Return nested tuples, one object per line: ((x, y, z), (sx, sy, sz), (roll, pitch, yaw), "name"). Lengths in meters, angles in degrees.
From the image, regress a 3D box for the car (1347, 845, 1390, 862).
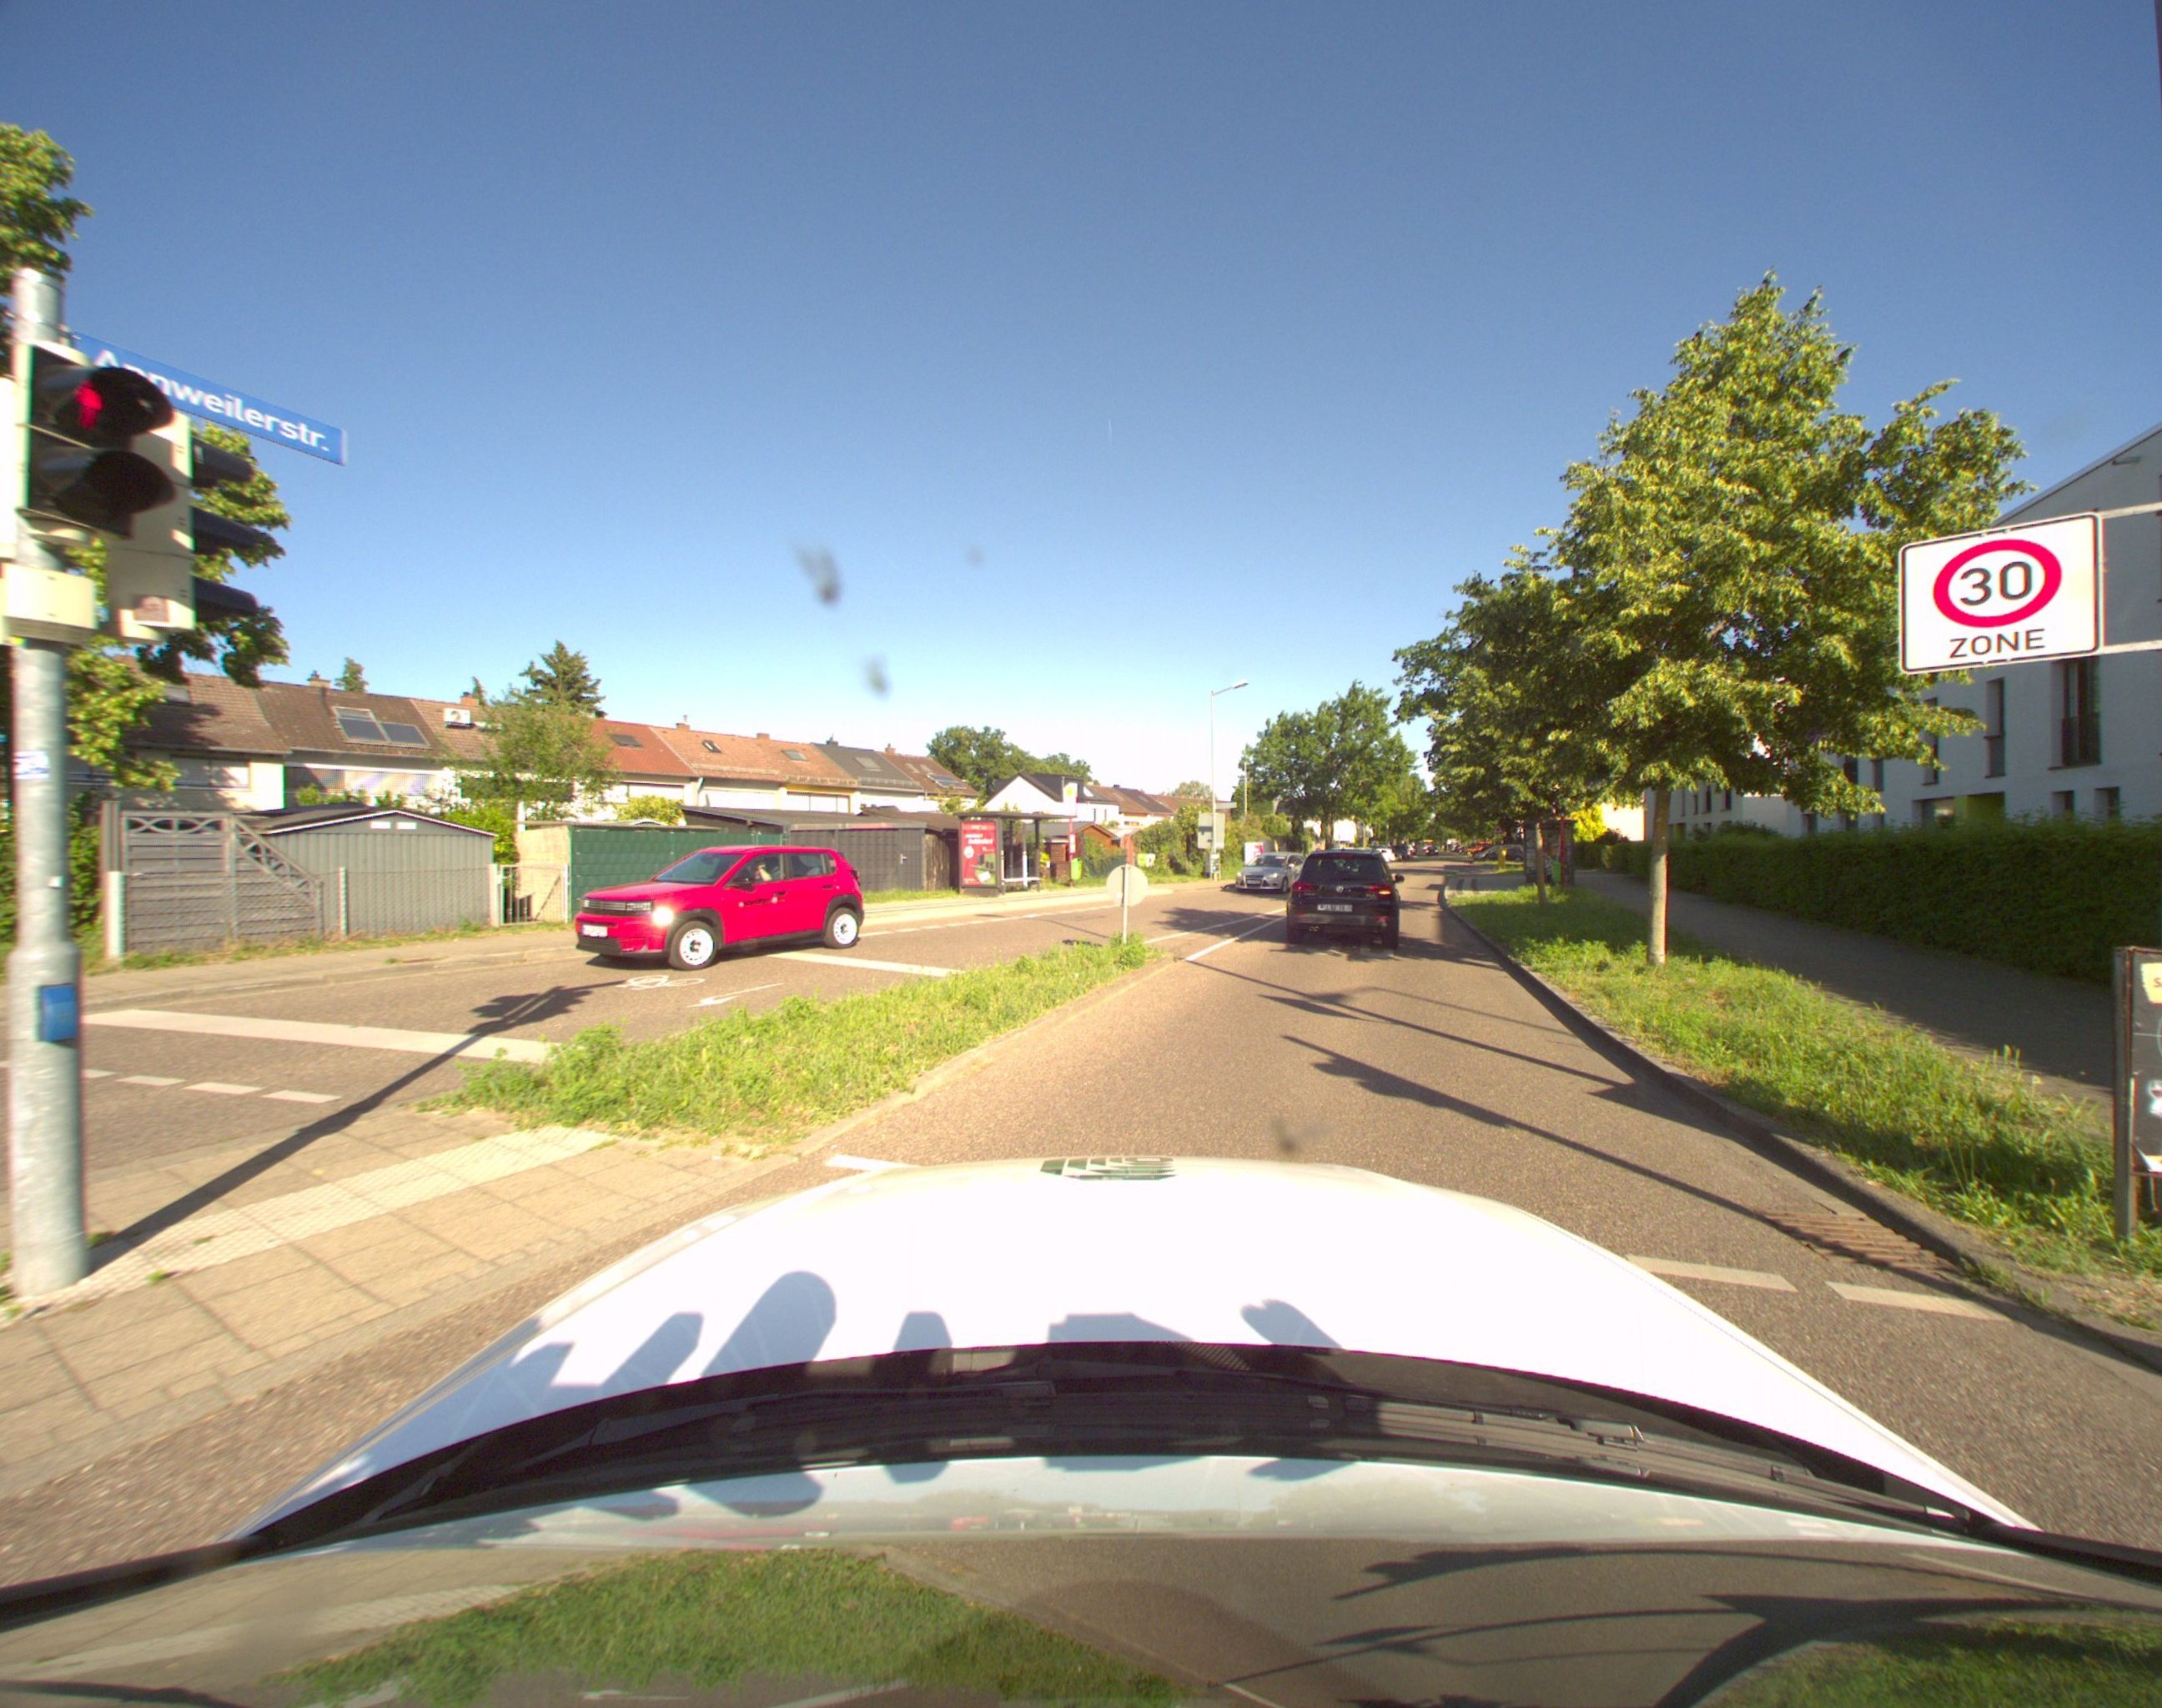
((29.564, -0.072, 83.680), (3.950, 1.670, 2.012), (-1, 0, 26), "car")

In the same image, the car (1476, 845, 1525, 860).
((39.498, -0.114, 76.775), (3.950, 1.368, 1.857), (-1, 0, 25), "car")

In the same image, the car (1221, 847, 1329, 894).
((7.280, 0.556, 30.232), (2.188, 1.591, 4.563), (0, 0, 38), "car")

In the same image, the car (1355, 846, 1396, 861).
((32.003, -0.070, 88.468), (3.950, 1.640, 2.012), (0, 0, 27), "car")

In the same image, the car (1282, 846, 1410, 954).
((4.986, 0.693, 15.091), (1.913, 1.654, 4.537), (1, 1, 20), "car")

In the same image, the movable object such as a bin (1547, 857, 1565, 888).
((15.629, 0.599, 26.821), (0.366, 1.016, 0.602), (-1, 0, 16), "movable object such as a bin")

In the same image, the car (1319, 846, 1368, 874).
((14.571, 0.276, 45.033), (1.975, 1.443, 4.477), (1, 1, 26), "car")

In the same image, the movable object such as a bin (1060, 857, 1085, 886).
((-0.294, 0.594, 28.101), (0.587, 0.967, 0.562), (4, 2, 30), "movable object such as a bin")

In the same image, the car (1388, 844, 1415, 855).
((51.837, -0.666, 131.728), (3.955, 1.684, 1.932), (-1, 0, 17), "car")

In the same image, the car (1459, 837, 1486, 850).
((64.277, -1.655, 133.652), (3.950, 2.014, 2.011), (-1, -2, 26), "car")

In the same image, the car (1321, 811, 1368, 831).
((21.892, -2.750, 67.690), (3.516, 1.477, 1.819), (-1, 0, 25), "car")

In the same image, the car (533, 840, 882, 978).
((-5.059, 0.612, 11.668), (1.921, 1.588, 4.207), (0, 0, 30), "car")

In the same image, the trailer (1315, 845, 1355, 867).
((20.544, 0.164, 65.869), (2.941, 1.656, 1.404), (-1, 0, 21), "trailer")
